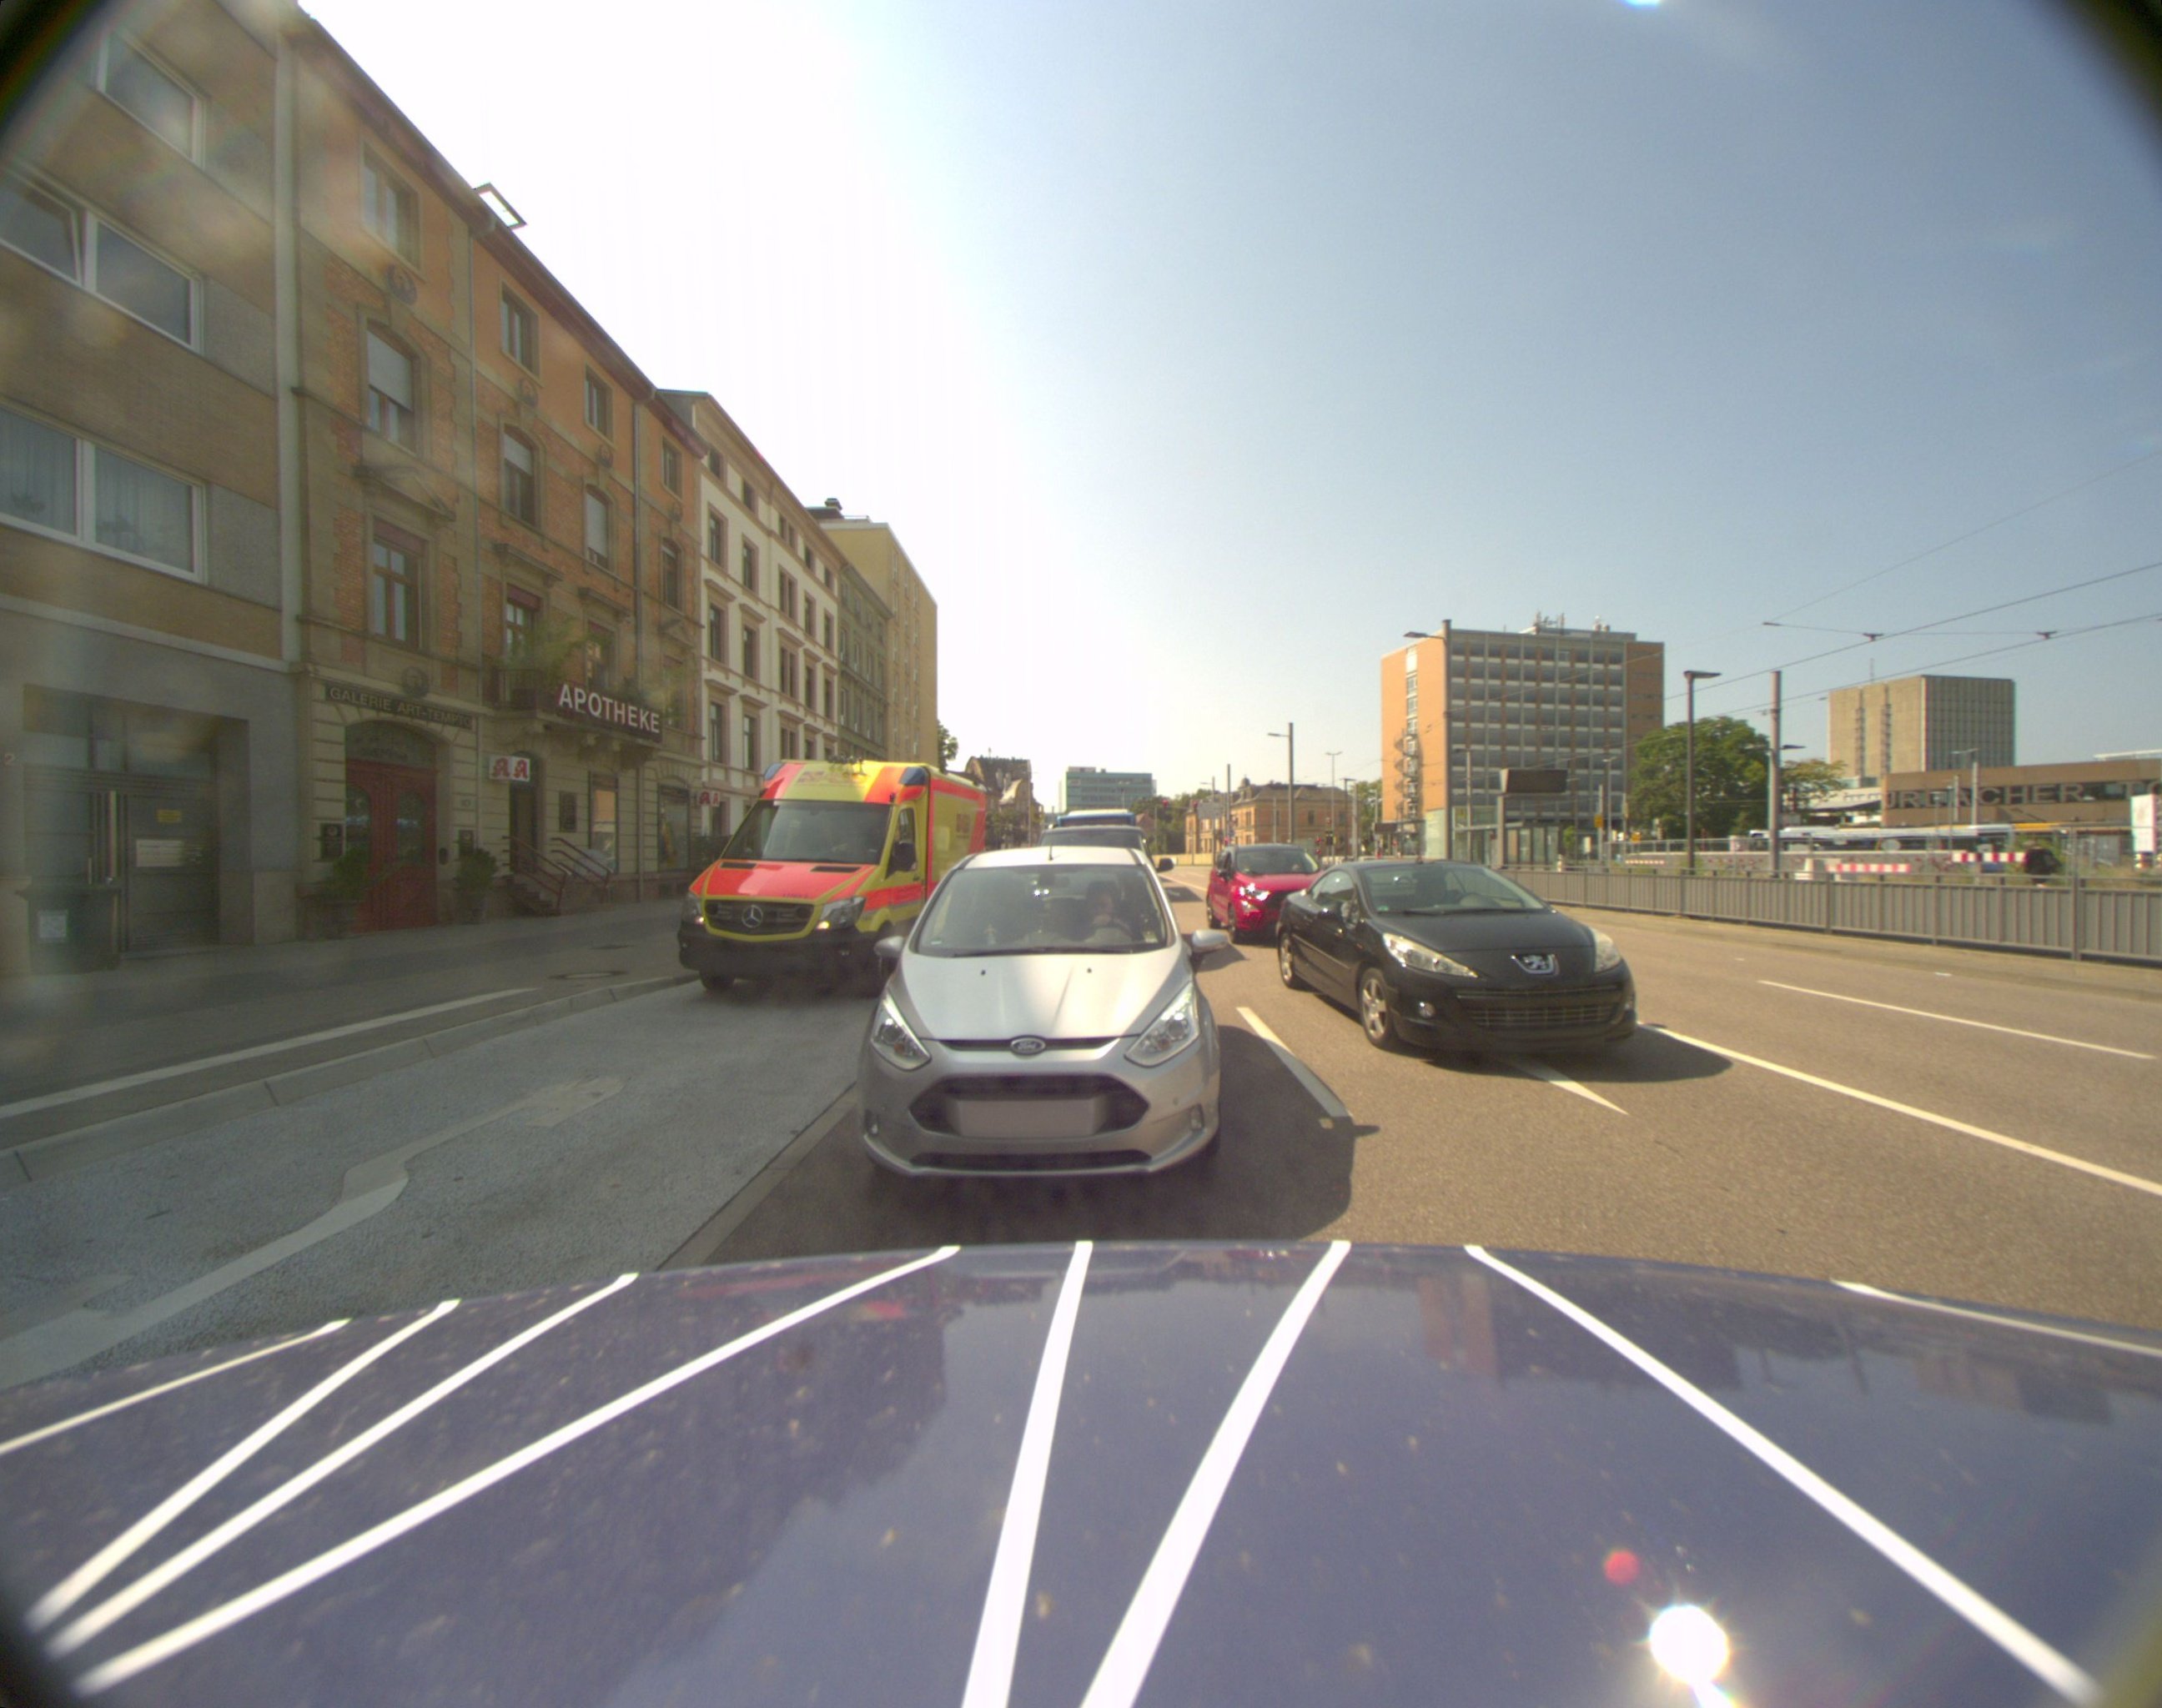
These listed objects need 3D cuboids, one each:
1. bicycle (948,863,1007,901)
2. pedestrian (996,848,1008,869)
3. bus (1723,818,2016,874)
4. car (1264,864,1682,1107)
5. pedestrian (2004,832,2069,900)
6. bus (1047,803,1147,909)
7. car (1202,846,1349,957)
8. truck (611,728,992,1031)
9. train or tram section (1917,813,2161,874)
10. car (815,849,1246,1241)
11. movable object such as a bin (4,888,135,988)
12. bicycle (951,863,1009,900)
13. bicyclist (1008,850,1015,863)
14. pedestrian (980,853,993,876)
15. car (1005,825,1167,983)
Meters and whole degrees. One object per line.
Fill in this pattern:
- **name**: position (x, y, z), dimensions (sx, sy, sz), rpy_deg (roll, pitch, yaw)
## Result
- **bicycle**: position (-3.445, 0.934, 25.334), dimensions (1.841, 1.196, 0.434), rpy_deg (-2, 1, 1)
- **pedestrian**: position (-6.159, 0.318, 59.219), dimensions (0.644, 1.619, 0.798), rpy_deg (1, 1, 21)
- **bus**: position (52.326, -0.410, 51.344), dimensions (3.357, 3.275, 13.371), rpy_deg (-3, 0, -45)
- **car**: position (2.894, 0.843, 6.621), dimensions (1.692, 1.405, 3.801), rpy_deg (-2, 0, 1)
- **pedestrian**: position (25.145, 0.311, 20.007), dimensions (0.745, 1.777, 0.761), rpy_deg (0, 1, 1)
- **bus**: position (0.631, 0.041, 29.289), dimensions (2.919, 3.119, 12.345), rpy_deg (-2, 0, 1)
- **car**: position (3.187, 0.694, 13.228), dimensions (1.634, 1.611, 3.968), rpy_deg (-2, 0, 2)
- **truck**: position (-3.005, 0.208, 10.241), dimensions (2.333, 2.754, 6.340), rpy_deg (2, 1, 4)
- **train or tram section**: position (64.108, -0.634, 49.838), dimensions (2.004, 3.743, 12.331), rpy_deg (-1, 0, -45)
- **car**: position (-0.160, 0.783, 5.105), dimensions (1.728, 1.579, 4.000), rpy_deg (-1, 0, 1)
- **movable object such as a bin**: position (-11.988, 0.974, 9.034), dimensions (0.648, 1.098, 0.727), rpy_deg (1, 0, -24)
- **bicycle**: position (-3.418, 0.932, 25.771), dimensions (1.841, 1.196, 0.434), rpy_deg (-2, 1, 1)
- **bicyclist**: position (-8.720, 0.360, 94.787), dimensions (0.721, 1.577, 1.103), rpy_deg (-1, 0, 2)
- **pedestrian**: position (-7.286, 0.830, 58.531), dimensions (0.687, 1.748, 0.798), rpy_deg (1, 1, 26)
- **car**: position (0.116, 0.623, 12.016), dimensions (1.998, 1.953, 4.816), rpy_deg (-1, 0, 1)
